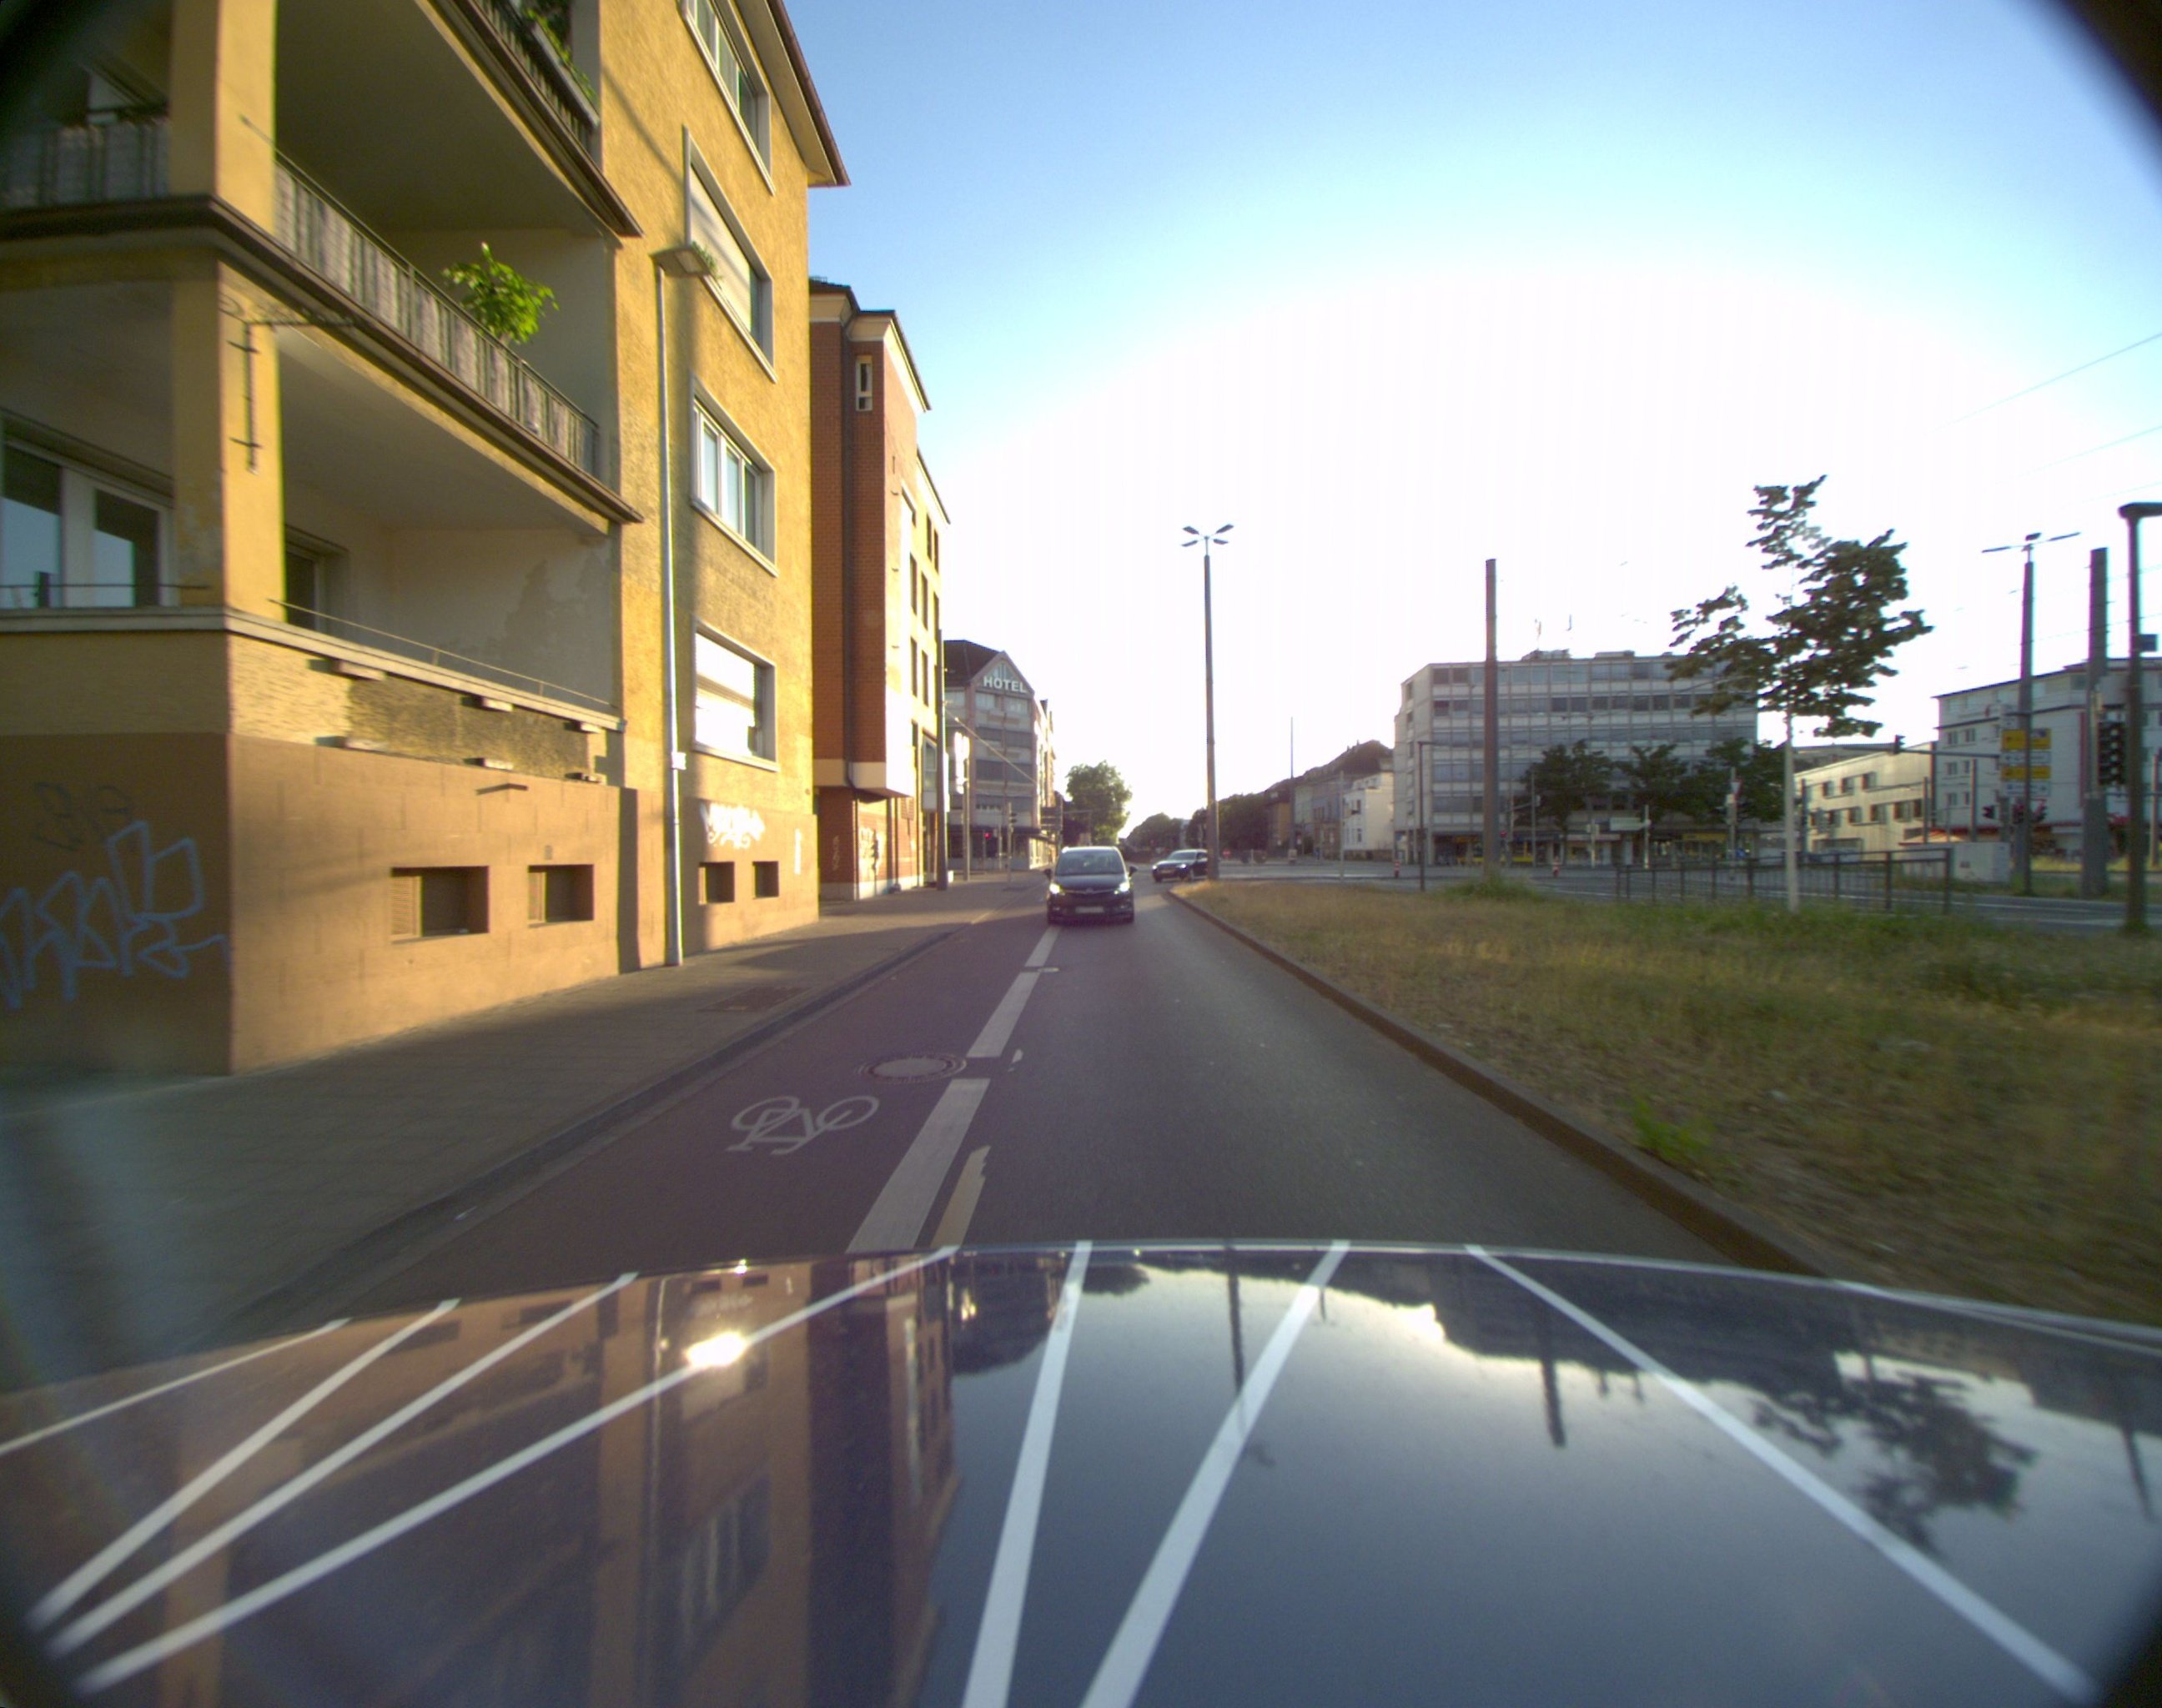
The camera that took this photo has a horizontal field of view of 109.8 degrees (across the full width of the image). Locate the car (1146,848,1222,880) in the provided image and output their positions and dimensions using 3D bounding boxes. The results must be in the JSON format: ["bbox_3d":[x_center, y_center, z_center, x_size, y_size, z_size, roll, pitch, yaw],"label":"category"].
[{"bbox_3d":[4.953,0.438,36.061,1.847,1.400,4.234,0,0,34],"label":"car"}]

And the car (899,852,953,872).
[{"bbox_3d":[-12.634,0.640,62.015,4.019,1.557,1.749,0,0,4],"label":"car"}]

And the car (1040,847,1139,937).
[{"bbox_3d":[0.204,0.677,16.114,1.800,1.609,4.386,-1,1,1],"label":"car"}]
